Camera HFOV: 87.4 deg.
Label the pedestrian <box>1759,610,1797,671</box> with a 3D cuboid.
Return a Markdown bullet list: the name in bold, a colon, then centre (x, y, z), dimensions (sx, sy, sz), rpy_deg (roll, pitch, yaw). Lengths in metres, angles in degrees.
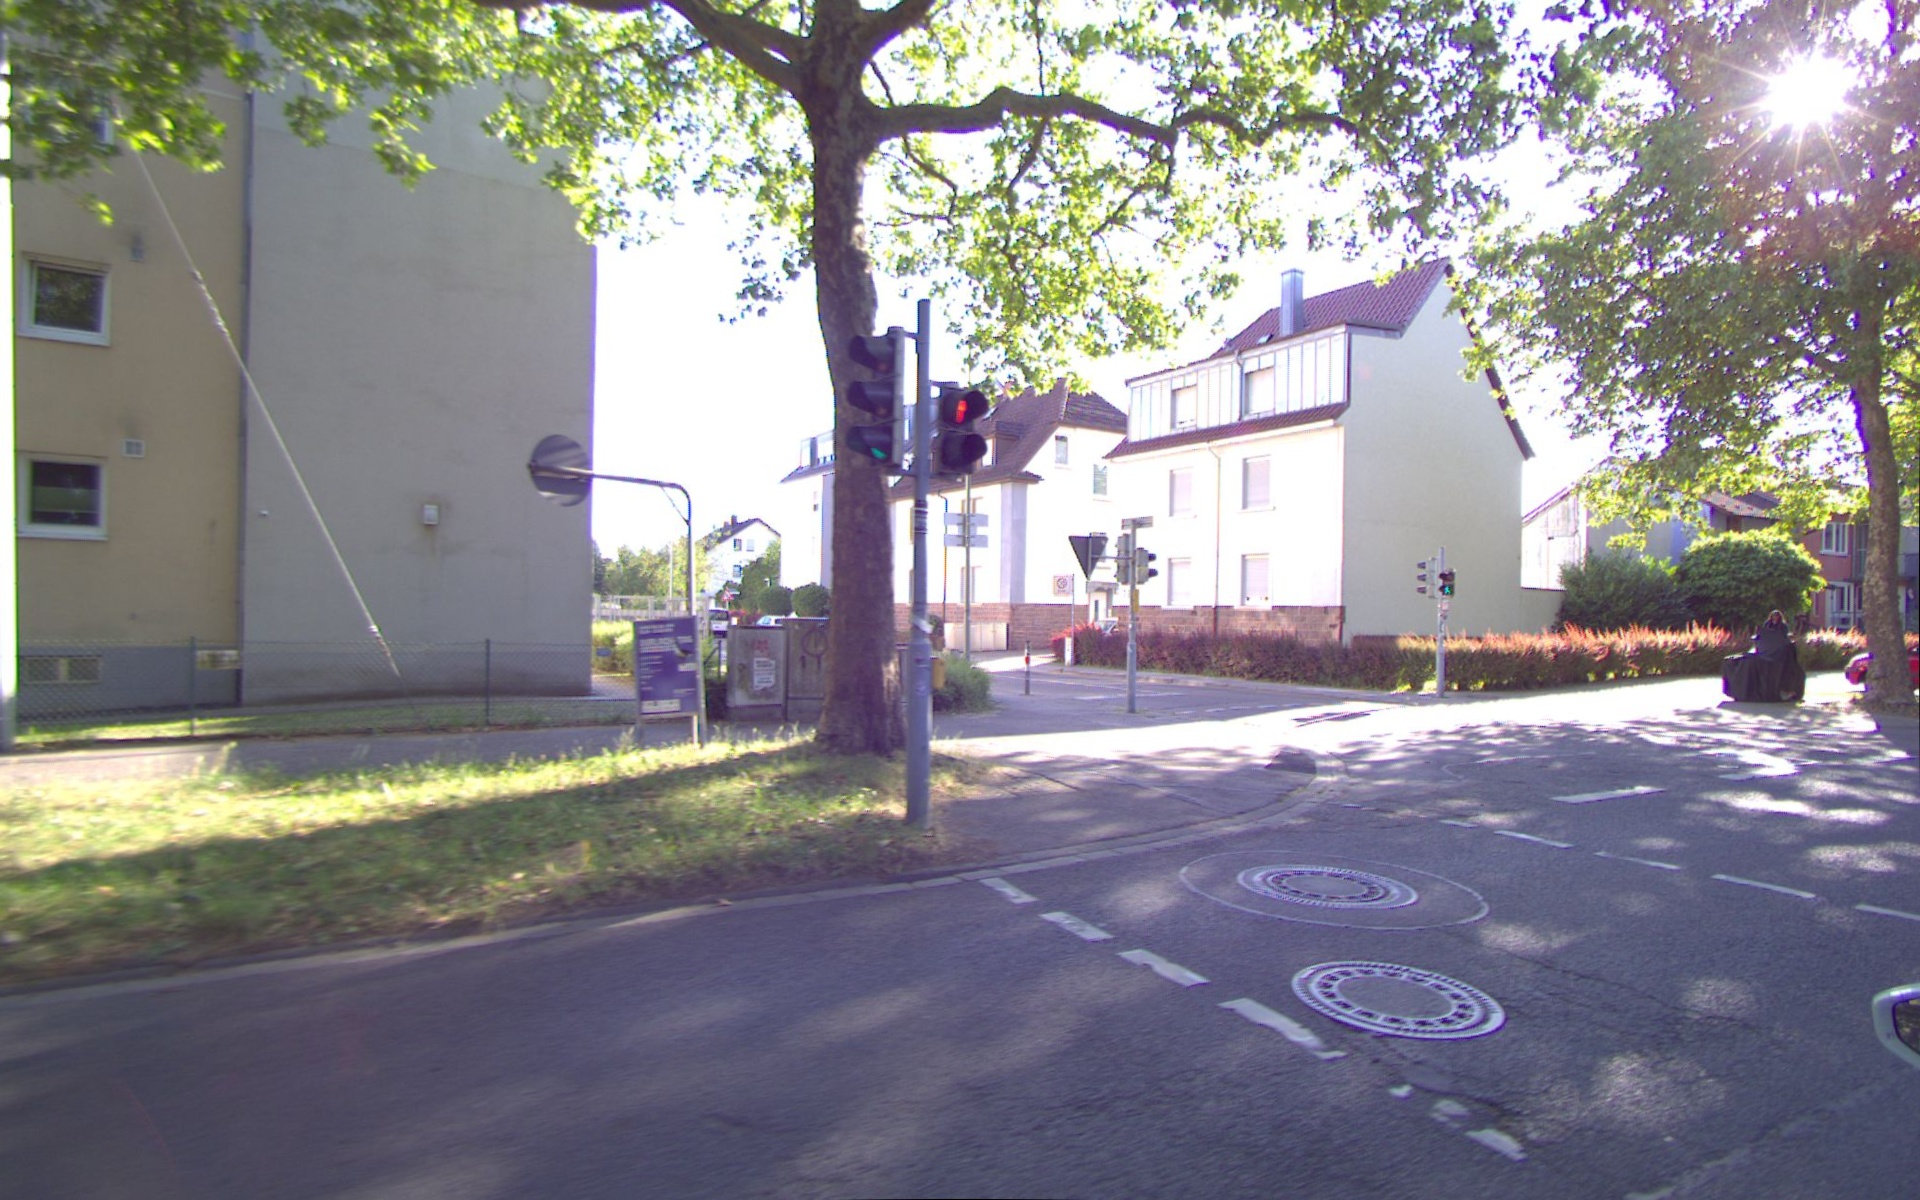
- **pedestrian**: centre (21.255, 1.055, 26.102), dimensions (1.024, 1.552, 0.506), rpy_deg (2, -1, -36)

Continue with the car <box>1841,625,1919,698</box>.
- **car**: centre (22.243, 1.416, 22.226), dimensions (1.810, 1.555, 3.745), rpy_deg (2, 0, -31)

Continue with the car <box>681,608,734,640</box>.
- **car**: centre (-15.211, 1.428, 60.467), dimensions (1.978, 1.792, 3.965), rpy_deg (1, -1, -32)

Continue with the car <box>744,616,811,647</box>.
- **car**: centre (-9.292, 1.572, 50.943), dimensions (1.978, 1.507, 3.965), rpy_deg (1, -1, -32)

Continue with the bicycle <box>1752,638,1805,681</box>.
- **bicycle**: centre (21.331, 1.536, 26.157), dimensions (2.131, 1.055, 0.506), rpy_deg (2, -1, -35)

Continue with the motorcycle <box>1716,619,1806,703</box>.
- **motorcycle**: centre (17.244, 1.271, 21.599), dimensions (2.367, 1.660, 0.972), rpy_deg (-1, 1, -37)
